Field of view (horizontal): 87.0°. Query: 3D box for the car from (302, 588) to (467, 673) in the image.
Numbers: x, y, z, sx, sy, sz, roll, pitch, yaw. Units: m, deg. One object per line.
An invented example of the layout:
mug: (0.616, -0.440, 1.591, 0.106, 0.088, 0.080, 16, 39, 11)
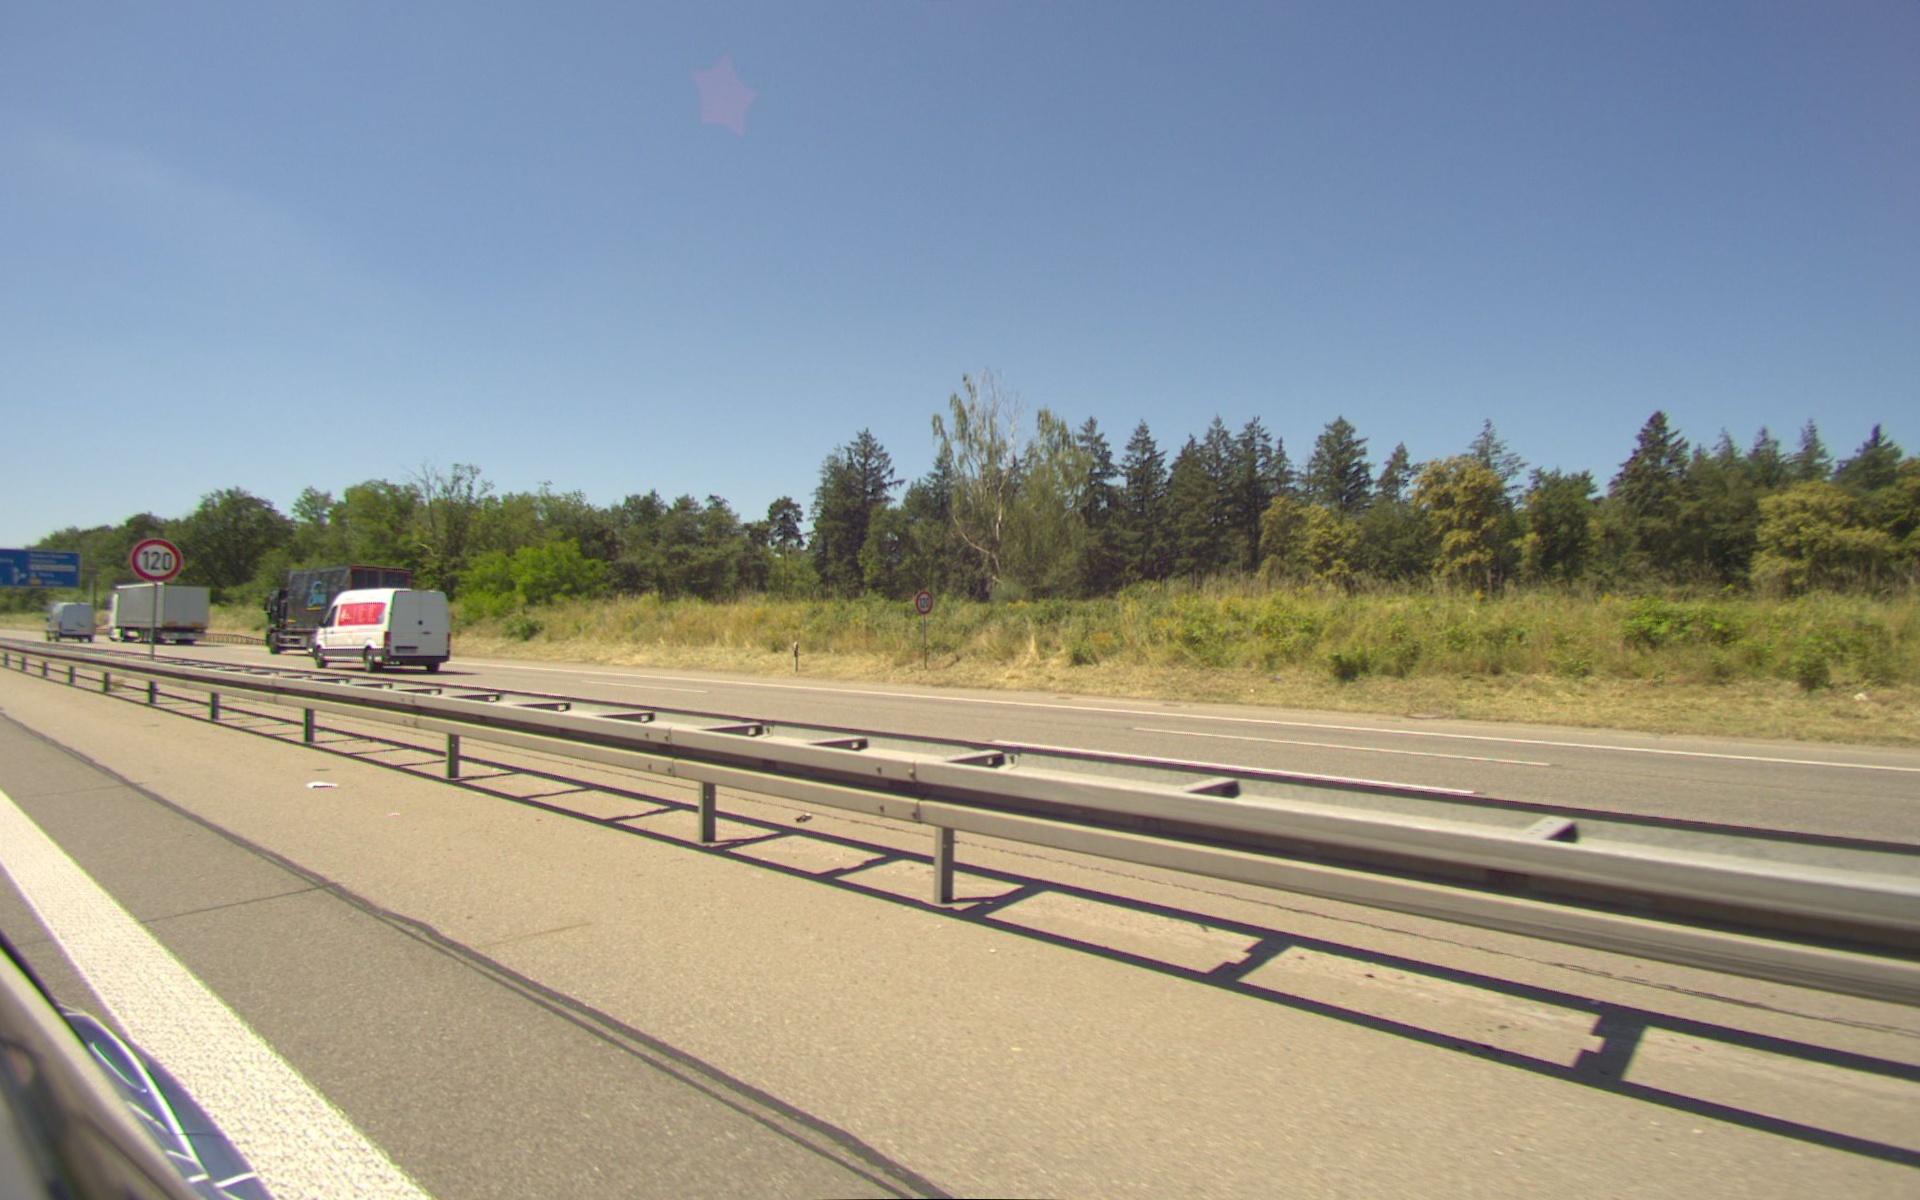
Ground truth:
car: (-18.766, 1.002, 32.788, 7.129, 2.467, 2.339, -1, -4, 41)

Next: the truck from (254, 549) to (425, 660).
truck: (-29.743, 0.342, 48.151, 12.181, 4.660, 3.341, -1, -4, 41)

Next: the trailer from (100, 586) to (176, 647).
trailer: (-60.816, 1.255, 74.822, 6.323, 4.230, 3.122, -1, -4, 41)

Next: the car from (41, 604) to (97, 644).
car: (-60.693, 1.667, 68.887, 6.387, 2.590, 1.972, -1, -4, 41)

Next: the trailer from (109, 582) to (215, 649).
trailer: (-55.511, 1.152, 70.155, 14.119, 4.230, 3.122, -1, -4, 41)
